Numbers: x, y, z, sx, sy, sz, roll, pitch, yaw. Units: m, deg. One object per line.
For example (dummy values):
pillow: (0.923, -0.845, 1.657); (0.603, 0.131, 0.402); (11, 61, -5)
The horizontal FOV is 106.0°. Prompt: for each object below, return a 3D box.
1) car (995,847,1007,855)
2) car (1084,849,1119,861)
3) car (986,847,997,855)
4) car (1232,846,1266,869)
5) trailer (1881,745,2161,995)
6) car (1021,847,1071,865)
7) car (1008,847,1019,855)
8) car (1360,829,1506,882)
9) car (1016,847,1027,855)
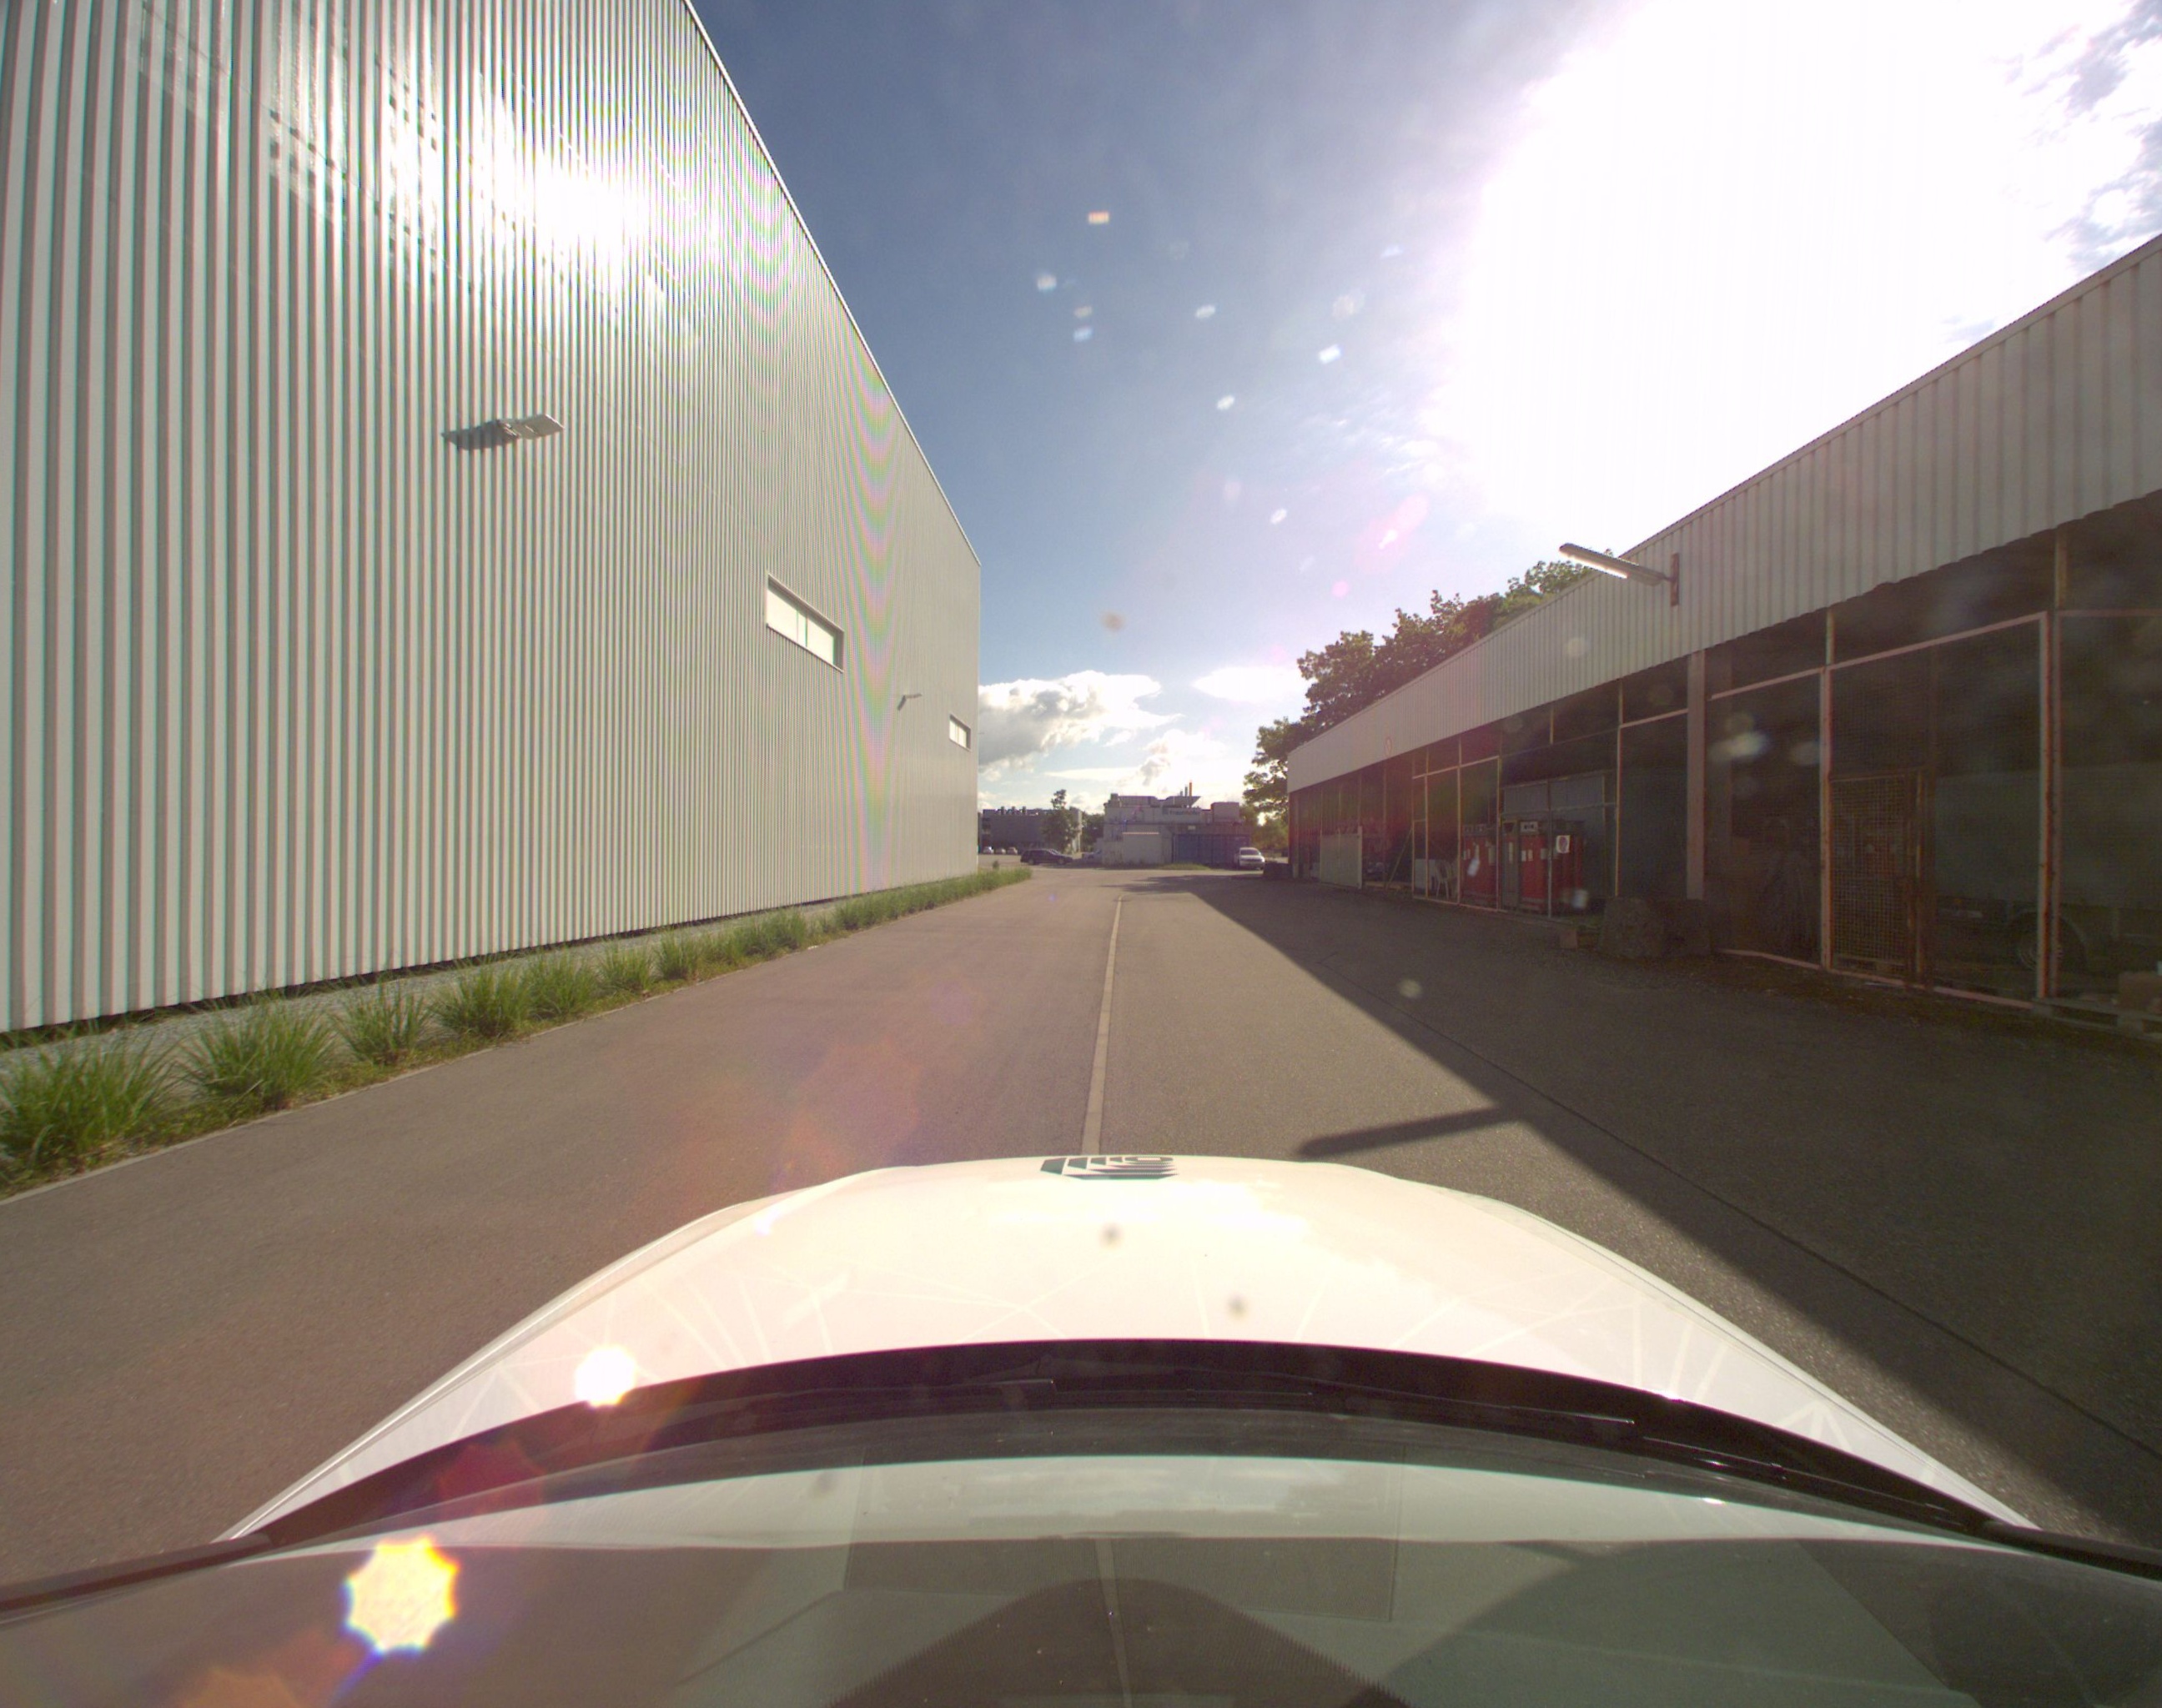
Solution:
car: (-16.950, -0.574, 172.412); (1.969, 1.678, 4.001); (-1, 0, 1)
car: (2.591, 0.132, 102.544); (4.285, 1.457, 1.825); (-1, 0, 2)
car: (-19.043, -0.570, 172.896); (1.791, 1.712, 4.049); (-1, 0, 1)
car: (12.686, 0.241, 61.657); (1.970, 1.602, 4.383); (-1, 1, 5)
trailer: (10.236, 0.113, 8.044); (1.913, 2.143, 2.805); (-1, 0, 1)
car: (-3.199, 0.176, 74.861); (4.430, 1.531, 1.825); (-1, 0, 2)
car: (-14.346, -0.650, 172.723); (1.958, 1.712, 4.031); (-1, 0, 1)
car: (13.369, 0.050, 31.109); (4.761, 1.916, 1.996); (0, 0, -5)
car: (-12.387, -0.593, 170.796); (1.851, 1.494, 4.031); (-1, 0, 1)
